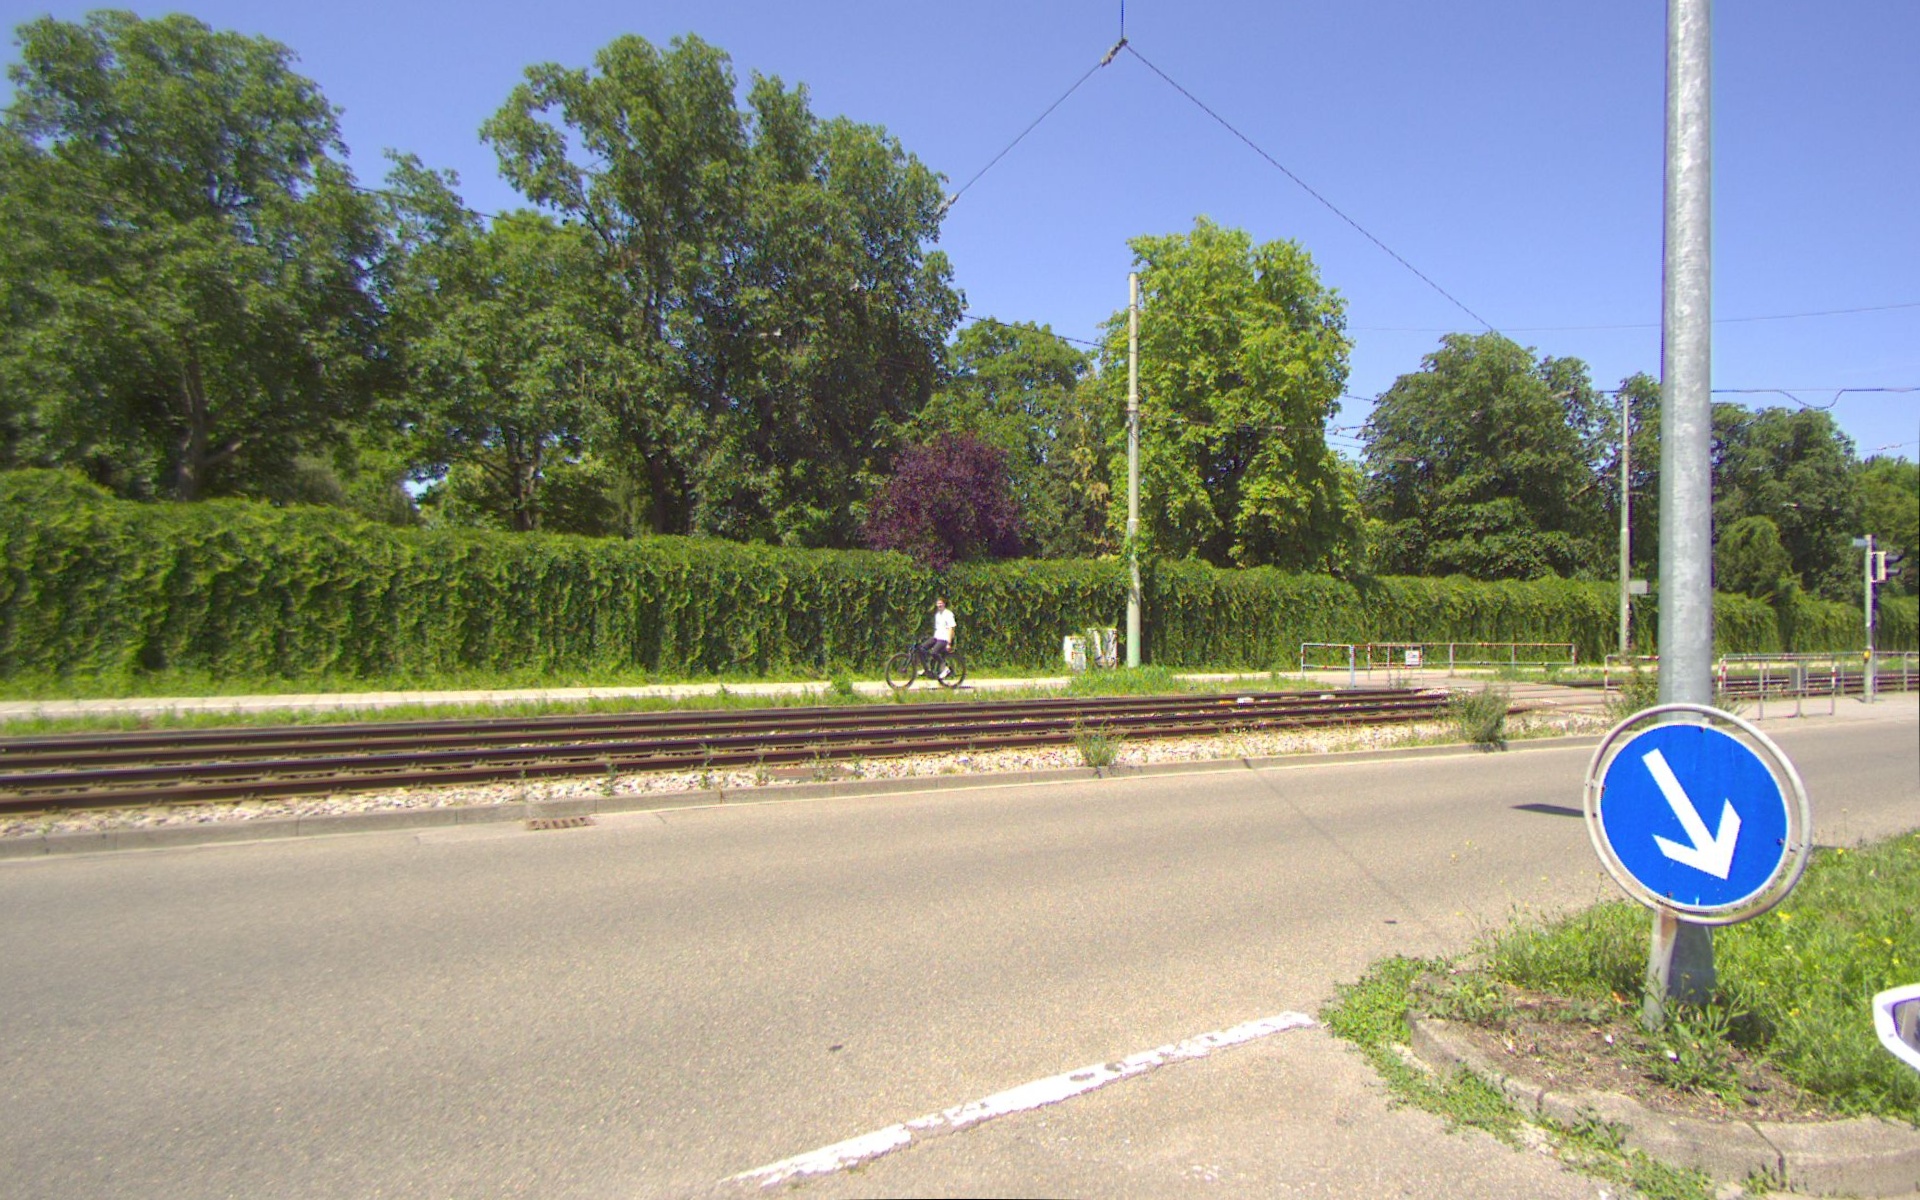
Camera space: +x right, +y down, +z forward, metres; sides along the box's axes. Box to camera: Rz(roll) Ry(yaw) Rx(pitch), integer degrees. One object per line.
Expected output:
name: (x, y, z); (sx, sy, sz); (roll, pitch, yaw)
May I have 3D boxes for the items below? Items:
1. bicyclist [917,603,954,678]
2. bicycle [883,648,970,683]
bicyclist: (-0.504, 0.818, 20.532); (0.554, 1.497, 0.555); (1, -1, -29)
bicycle: (-0.679, 1.323, 20.427); (1.699, 0.656, 0.558); (1, -1, -29)
